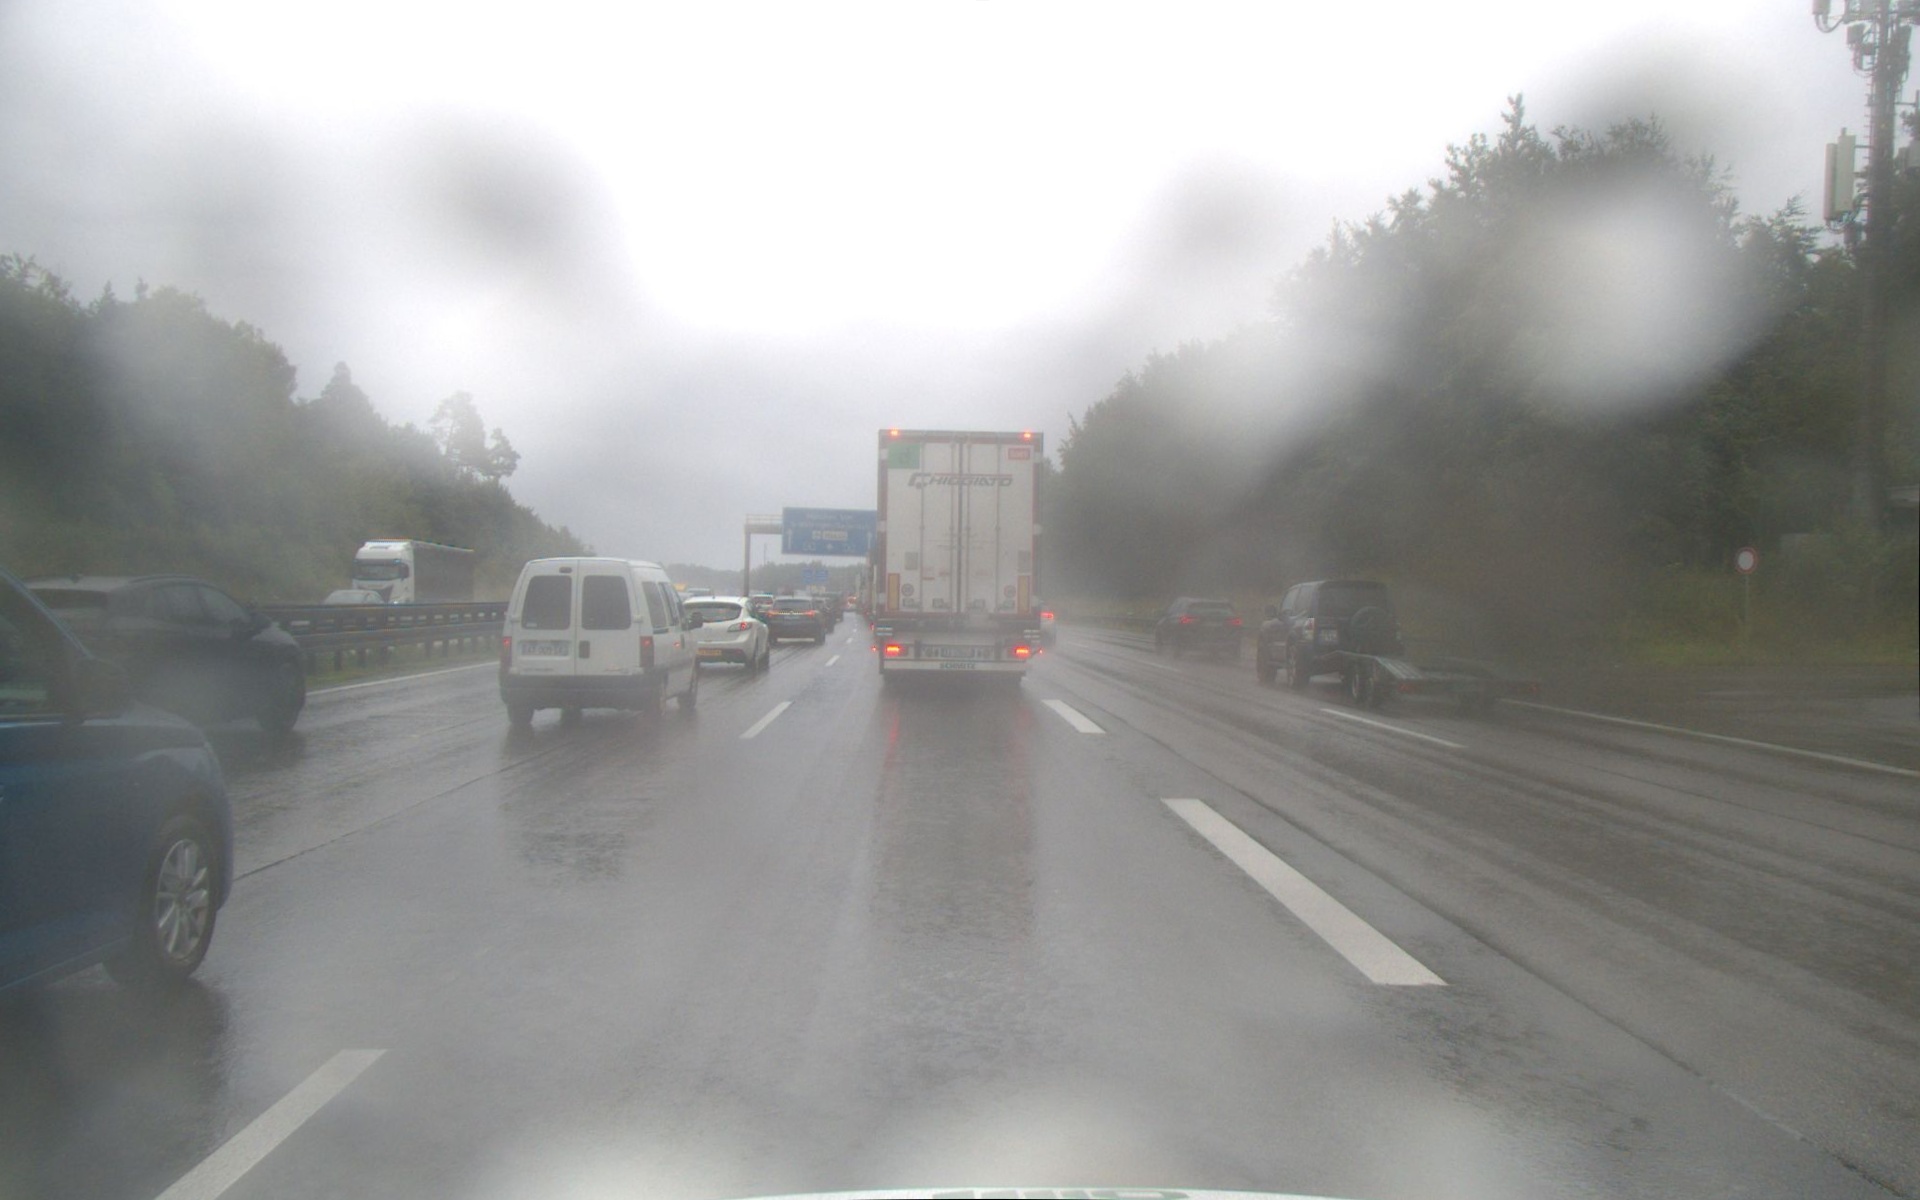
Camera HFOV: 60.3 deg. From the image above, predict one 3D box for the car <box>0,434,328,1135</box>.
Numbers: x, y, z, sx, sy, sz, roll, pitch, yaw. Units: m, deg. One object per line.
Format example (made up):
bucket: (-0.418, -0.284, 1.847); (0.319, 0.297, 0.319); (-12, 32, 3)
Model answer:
car: (-3.775, 0.502, 4.318); (2.222, 1.945, 5.016); (1, 0, 1)

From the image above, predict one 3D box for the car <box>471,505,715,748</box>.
car: (-4.365, 0.279, 20.517); (2.169, 2.618, 5.012); (1, 0, -4)

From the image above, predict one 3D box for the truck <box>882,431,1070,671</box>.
truck: (0.189, -0.714, 30.876); (2.814, 3.624, 11.300); (1, 0, -1)

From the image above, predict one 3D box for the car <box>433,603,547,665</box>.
car: (-13.280, 0.924, 47.036); (2.049, 1.531, 4.752); (-2, 1, -3)

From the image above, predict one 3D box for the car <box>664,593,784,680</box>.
car: (-4.708, 0.691, 33.497); (1.808, 1.619, 4.072); (1, 0, 0)

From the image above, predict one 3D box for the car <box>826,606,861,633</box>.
car: (-6.310, 1.050, 89.937); (1.809, 1.354, 4.464); (1, 0, -3)

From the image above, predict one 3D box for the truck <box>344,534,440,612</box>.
truck: (-29.468, -1.378, 86.129); (2.959, 3.884, 6.262); (0, 0, -2)

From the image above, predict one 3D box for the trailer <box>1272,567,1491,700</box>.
trailer: (6.114, 0.434, 24.654); (2.196, 1.744, 5.084); (1, 0, 3)

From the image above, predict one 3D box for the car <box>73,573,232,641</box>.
car: (-19.331, 0.138, 39.823); (1.799, 1.523, 4.330); (1, 0, -2)

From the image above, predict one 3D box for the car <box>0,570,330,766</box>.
car: (-7.799, 0.546, 16.015); (1.808, 1.619, 4.464); (1, 0, -2)

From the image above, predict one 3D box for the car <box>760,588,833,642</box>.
car: (-5.108, 0.446, 52.223); (1.808, 1.619, 4.466); (1, 0, 0)

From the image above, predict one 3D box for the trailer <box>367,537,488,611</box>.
trailer: (-29.736, -1.389, 93.112); (2.964, 3.884, 13.553); (0, 0, -3)

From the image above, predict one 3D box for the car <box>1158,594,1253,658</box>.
car: (6.648, 0.669, 45.164); (1.949, 1.611, 4.768); (1, 0, 1)

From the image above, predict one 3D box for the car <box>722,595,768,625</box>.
car: (-10.180, 0.442, 78.499); (1.809, 1.354, 4.464); (1, 0, -3)

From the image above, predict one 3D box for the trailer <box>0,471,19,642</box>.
trailer: (-22.975, -0.984, 33.727); (2.628, 3.884, 9.003); (0, 0, -2)

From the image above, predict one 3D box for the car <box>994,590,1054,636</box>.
car: (2.094, 0.399, 55.197); (1.851, 1.450, 4.483); (1, 0, 0)
